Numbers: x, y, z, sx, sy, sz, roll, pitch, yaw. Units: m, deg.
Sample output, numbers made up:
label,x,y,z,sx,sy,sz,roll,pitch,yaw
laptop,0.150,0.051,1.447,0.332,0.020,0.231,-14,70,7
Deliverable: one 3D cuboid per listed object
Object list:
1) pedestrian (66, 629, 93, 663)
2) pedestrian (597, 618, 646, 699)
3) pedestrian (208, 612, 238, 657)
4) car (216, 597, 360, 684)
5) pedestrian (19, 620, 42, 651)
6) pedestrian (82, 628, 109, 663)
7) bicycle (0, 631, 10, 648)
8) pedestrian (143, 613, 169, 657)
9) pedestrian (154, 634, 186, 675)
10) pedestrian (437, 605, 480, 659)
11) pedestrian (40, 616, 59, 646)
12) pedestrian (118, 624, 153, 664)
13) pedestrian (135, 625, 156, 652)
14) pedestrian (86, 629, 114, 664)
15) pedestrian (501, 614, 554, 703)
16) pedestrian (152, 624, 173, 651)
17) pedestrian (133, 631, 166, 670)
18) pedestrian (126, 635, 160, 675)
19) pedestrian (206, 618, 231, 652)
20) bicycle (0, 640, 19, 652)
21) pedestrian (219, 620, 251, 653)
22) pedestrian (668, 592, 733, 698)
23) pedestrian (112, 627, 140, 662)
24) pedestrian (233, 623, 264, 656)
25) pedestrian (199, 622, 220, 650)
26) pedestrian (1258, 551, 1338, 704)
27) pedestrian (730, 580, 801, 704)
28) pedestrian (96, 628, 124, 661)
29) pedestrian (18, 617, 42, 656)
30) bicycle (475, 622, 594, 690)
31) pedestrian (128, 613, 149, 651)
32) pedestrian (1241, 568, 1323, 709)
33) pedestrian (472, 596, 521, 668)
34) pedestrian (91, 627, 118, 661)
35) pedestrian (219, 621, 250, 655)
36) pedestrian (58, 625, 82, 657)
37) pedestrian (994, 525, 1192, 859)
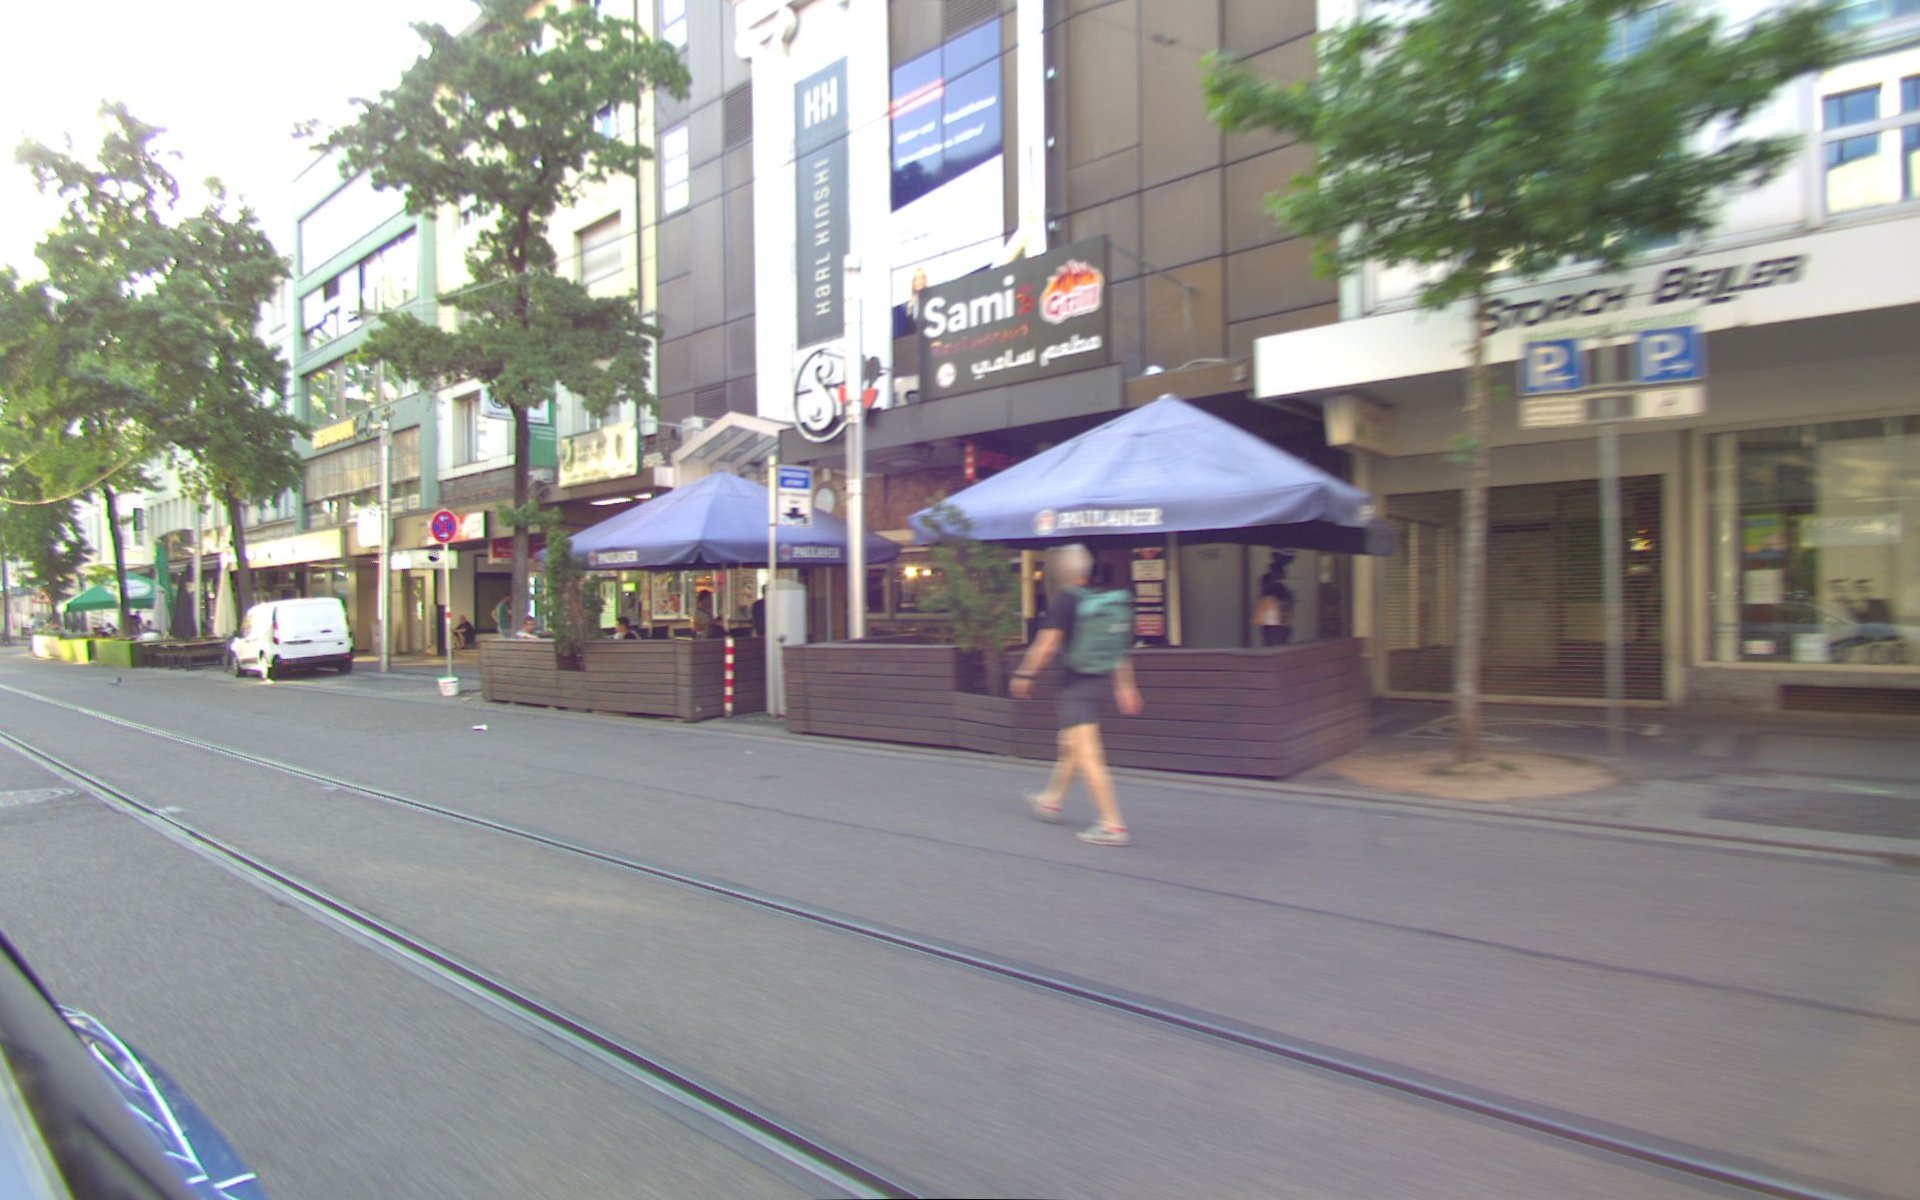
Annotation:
label,x,y,z,sx,sy,sz,roll,pitch,yaw
pedestrian,-35.131,1.832,40.365,0.772,1.269,0.700,-2,1,43
pedestrian,-5.313,0.909,15.903,0.535,1.237,0.490,-2,0,40
pedestrian,-26.474,1.238,36.369,0.700,1.586,0.641,-2,2,40
car,-16.641,0.951,24.968,4.552,1.878,1.777,-2,2,42
pedestrian,-57.228,2.180,62.297,0.884,1.795,0.857,-2,2,40
pedestrian,-32.869,1.720,38.476,0.696,1.254,0.613,-2,2,40
bicycle,-67.617,2.812,70.992,2.038,1.130,0.753,-2,2,30
pedestrian,-31.541,1.381,39.686,0.696,1.683,0.612,-2,1,40
pedestrian,-26.779,1.843,34.303,0.797,1.302,0.650,-2,2,40
pedestrian,-14.279,0.911,28.829,0.764,1.477,0.762,-2,2,38
pedestrian,-56.651,1.922,62.967,0.875,1.826,0.712,-2,2,40
pedestrian,-29.247,1.559,35.912,0.872,1.353,0.747,-2,2,40
pedestrian,-39.561,1.869,49.162,0.727,1.291,0.620,-2,1,41
pedestrian,-32.047,1.725,37.701,0.696,1.254,0.613,-2,2,40
pedestrian,-6.899,0.923,16.134,0.582,1.366,0.544,-2,0,40
pedestrian,-39.082,1.844,49.612,0.738,1.279,0.638,-2,1,41
pedestrian,-26.653,1.650,33.279,0.797,1.202,0.650,-2,2,40
pedestrian,-27.249,1.835,33.757,0.872,1.253,0.650,-2,2,40
pedestrian,-30.544,1.441,41.687,0.696,1.319,0.613,-2,2,40
bicycle,-57.006,2.762,59.915,1.282,0.613,1.776,-2,1,44
pedestrian,-28.895,1.450,40.334,0.944,1.246,0.769,-2,2,40
pedestrian,-4.104,0.695,16.024,0.719,1.619,0.666,-2,0,40
pedestrian,-31.596,1.677,38.338,0.696,1.254,0.613,-2,2,40
pedestrian,-26.678,1.471,37.942,0.787,1.176,0.693,-2,2,40
pedestrian,-32.940,1.575,44.418,0.686,1.167,0.595,-2,1,41
pedestrian,4.030,0.310,12.069,0.671,1.758,0.591,-2,1,41
pedestrian,-2.830,0.590,14.726,0.675,1.737,0.710,-2,0,39
pedestrian,-34.426,1.794,40.984,0.869,1.269,0.700,-2,1,43
pedestrian,-44.268,1.747,48.184,0.687,1.805,0.749,-2,1,43
bicycle,-7.739,1.027,18.398,2.073,1.129,0.694,-3,1,23
pedestrian,-40.958,1.570,50.476,0.675,1.829,0.766,-3,1,-34
pedestrian,3.685,0.421,11.586,0.671,1.544,0.591,-2,1,41
pedestrian,-11.308,0.781,24.691,1.004,1.698,0.660,-2,1,40
pedestrian,-35.449,1.807,41.927,0.781,1.357,0.700,-2,1,43
pedestrian,-27.780,1.436,38.737,0.787,1.222,0.729,-2,2,40
pedestrian,-39.974,1.848,45.450,0.806,1.397,0.682,-2,1,41
pedestrian,0.801,0.492,6.056,0.790,1.814,0.832,-2,1,41
